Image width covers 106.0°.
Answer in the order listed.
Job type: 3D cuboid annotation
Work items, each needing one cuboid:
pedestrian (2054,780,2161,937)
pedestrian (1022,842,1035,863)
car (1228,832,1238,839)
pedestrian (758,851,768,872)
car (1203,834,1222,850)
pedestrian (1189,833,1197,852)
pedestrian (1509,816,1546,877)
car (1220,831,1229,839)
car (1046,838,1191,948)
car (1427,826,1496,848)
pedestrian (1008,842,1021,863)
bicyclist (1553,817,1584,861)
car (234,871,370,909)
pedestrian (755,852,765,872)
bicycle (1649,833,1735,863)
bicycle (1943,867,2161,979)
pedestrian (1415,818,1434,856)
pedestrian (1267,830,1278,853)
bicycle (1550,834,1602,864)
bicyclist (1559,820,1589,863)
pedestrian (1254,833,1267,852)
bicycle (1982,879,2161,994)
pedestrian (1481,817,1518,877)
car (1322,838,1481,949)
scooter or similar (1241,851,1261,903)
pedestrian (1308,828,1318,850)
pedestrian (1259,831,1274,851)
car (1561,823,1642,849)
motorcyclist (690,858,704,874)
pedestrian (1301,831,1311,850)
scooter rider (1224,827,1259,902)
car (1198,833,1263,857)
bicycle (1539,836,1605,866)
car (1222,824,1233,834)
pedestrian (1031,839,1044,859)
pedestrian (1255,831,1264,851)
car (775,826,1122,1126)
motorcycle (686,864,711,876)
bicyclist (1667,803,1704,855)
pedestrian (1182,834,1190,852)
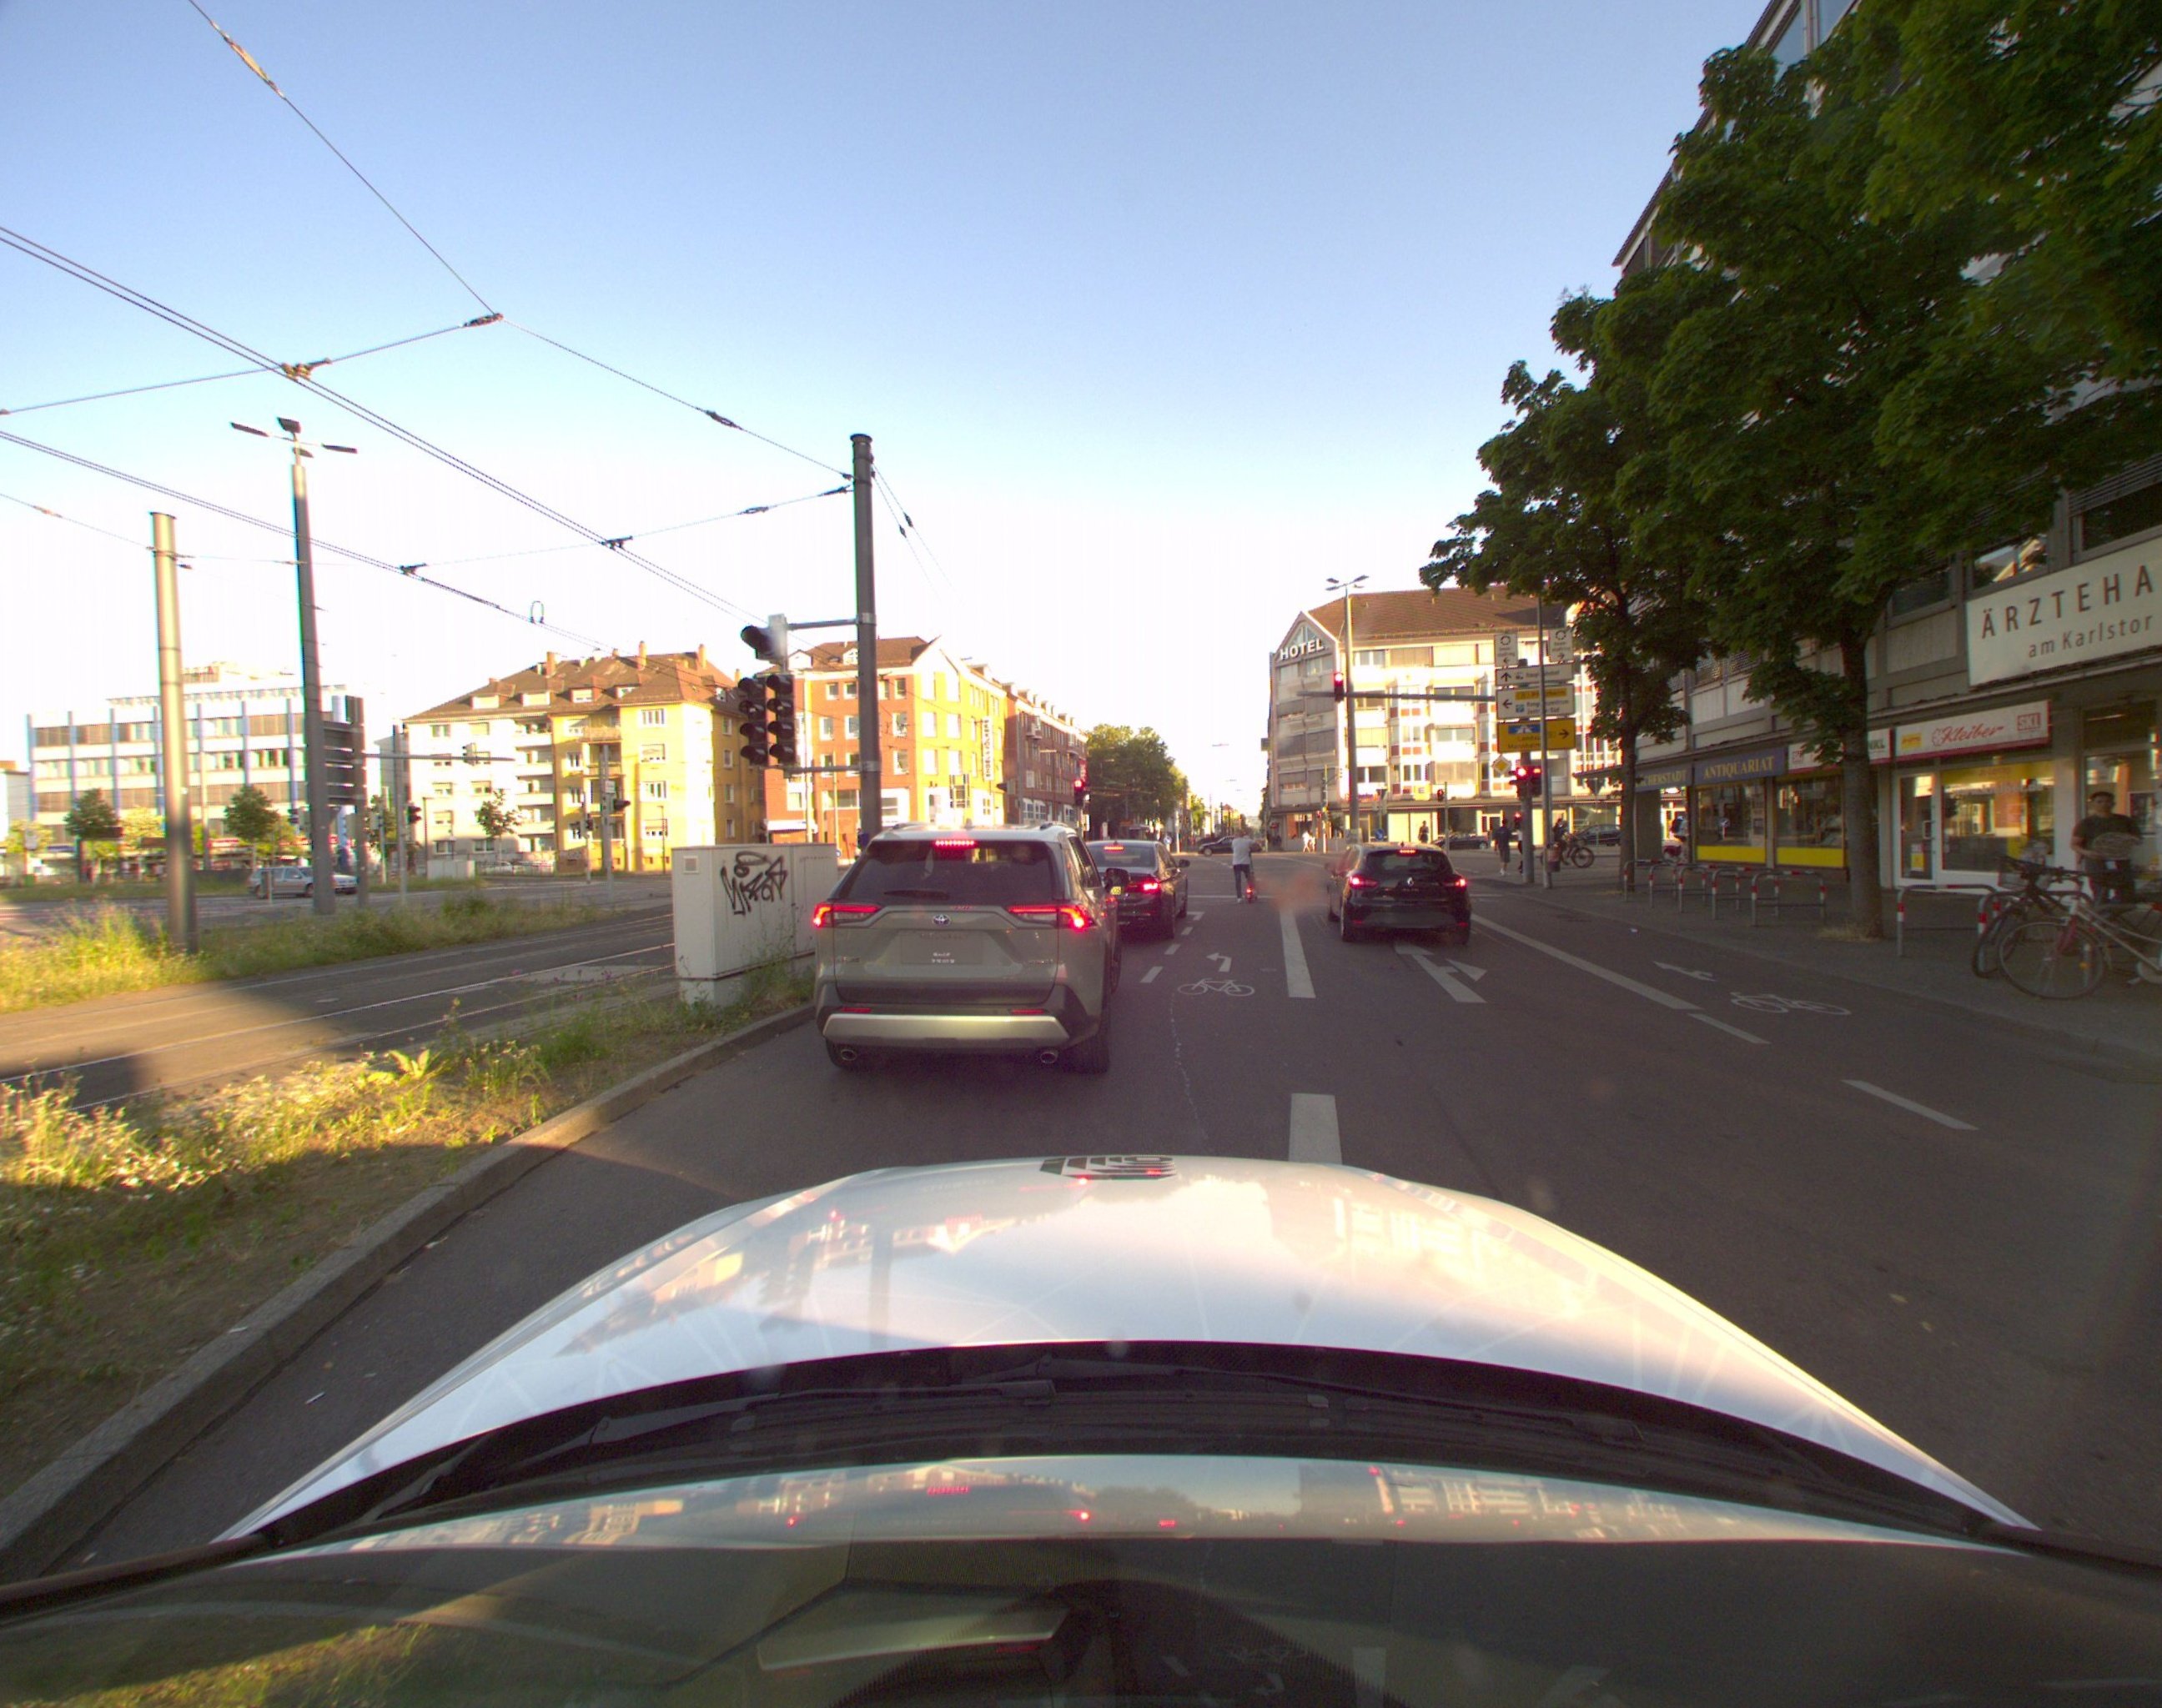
[{"bbox_3d":[12.288,0.044,9.707,0.739,1.778,0.805,0,1,39],"label":"pedestrian"},{"bbox_3d":[-5.204,-0.155,80.920,1.086,2.013,0.911,0,1,10],"label":"pedestrian"},{"bbox_3d":[31.550,-3.855,169.164,1.981,1.310,4.013,-2,1,11],"label":"car"},{"bbox_3d":[-26.461,0.630,67.754,0.671,1.742,0.683,-1,0,-36],"label":"pedestrian"},{"bbox_3d":[15.036,-1.365,92.945,1.798,1.746,3.729,0,1,14],"label":"car"},{"bbox_3d":[10.825,-1.147,78.857,0.696,1.822,0.811,0,1,14],"label":"pedestrian"},{"bbox_3d":[13.684,-0.241,24.941,1.003,1.830,0.720,-1,1,-44],"label":"pedestrian"},{"bbox_3d":[35.628,-4.632,202.367,1.979,1.859,4.016,-2,1,15],"label":"car"},{"bbox_3d":[0.798,0.488,13.407,1.733,1.460,4.424,0,2,11],"label":"car"},{"bbox_3d":[26.372,-1.192,56.541,3.962,1.476,2.006,0,1,10],"label":"car"},{"bbox_3d":[-6.470,-0.162,79.407,1.086,2.013,0.911,0,1,10],"label":"pedestrian"},{"bbox_3d":[17.307,-0.541,28.904,0.700,1.511,0.551,-4,1,6],"label":"bicyclist"},{"bbox_3d":[-35.192,1.600,36.866,4.317,1.551,2.003,-1,1,5],"label":"car"},{"bbox_3d":[-27.504,0.669,69.780,0.547,1.642,0.502,0,1,11],"label":"pedestrian"},{"bbox_3d":[22.079,-0.217,29.445,2.626,1.099,0.436,0,1,6],"label":"bicycle"},{"bbox_3d":[9.198,0.618,7.564,1.644,0.974,0.388,0,1,19],"label":"bicycle"},{"bbox_3d":[16.575,-0.820,39.265,0.741,1.778,0.803,0,1,15],"label":"pedestrian"},{"bbox_3d":[19.948,-1.299,84.799,1.077,2.365,1.060,0,1,13],"label":"pedestrian"},{"bbox_3d":[18.097,-0.180,29.797,1.603,1.028,0.354,-1,1,5],"label":"bicycle"},{"bbox_3d":[18.017,-0.452,29.790,0.701,1.511,0.551,-4,1,4],"label":"bicyclist"},{"bbox_3d":[15.374,-0.975,69.771,0.724,1.623,0.766,-2,1,-25],"label":"pedestrian"},{"bbox_3d":[8.780,0.679,6.737,1.803,0.891,0.417,0,1,19],"label":"bicycle"},{"bbox_3d":[13.134,-0.230,25.543,1.003,1.830,0.720,-1,1,-43],"label":"pedestrian"},{"bbox_3d":[4.843,0.483,12.844,1.752,1.439,4.015,0,1,13],"label":"car"},{"bbox_3d":[3.764,0.494,18.032,0.277,1.090,1.263,0,1,19],"label":"scooter or similar"},{"bbox_3d":[18.653,-1.213,65.515,0.495,1.774,0.471,-2,1,-25],"label":"pedestrian"},{"bbox_3d":[15.676,-1.092,68.975,0.937,1.726,0.844,0,1,-29],"label":"pedestrian"},{"bbox_3d":[35.240,-1.200,55.267,4.207,1.696,2.006,0,1,10],"label":"car"},{"bbox_3d":[-30.260,0.919,64.232,0.700,1.220,0.790,0,1,6],"label":"motorcyclist"},{"bbox_3d":[18.080,-1.066,65.461,0.495,1.503,0.471,-2,1,-25],"label":"pedestrian"},{"bbox_3d":[3.596,0.216,18.209,0.656,1.647,0.664,0,1,21],"label":"scooter rider"},{"bbox_3d":[10.738,-0.664,58.605,4.524,1.620,2.003,-1,1,9],"label":"car"},{"bbox_3d":[17.391,-0.091,28.875,2.025,1.028,0.418,-1,1,7],"label":"bicycle"},{"bbox_3d":[28.488,-4.933,158.315,1.979,1.900,4.015,0,1,13],"label":"car"},{"bbox_3d":[-4.541,-0.549,84.254,1.086,2.013,1.166,0,1,10],"label":"pedestrian"},{"bbox_3d":[18.911,-1.375,86.326,0.926,2.196,0.855,0,1,10],"label":"pedestrian"},{"bbox_3d":[-0.628,0.603,6.507,1.827,1.636,4.095,0,2,4],"label":"car"},{"bbox_3d":[-30.202,1.268,64.234,1.823,0.908,0.433,0,1,8],"label":"motorcycle"},{"bbox_3d":[21.857,-0.902,29.438,0.856,1.878,0.648,0,1,6],"label":"bicyclist"},{"bbox_3d":[10.179,-1.073,79.161,0.696,1.663,0.811,0,1,14],"label":"pedestrian"}]
